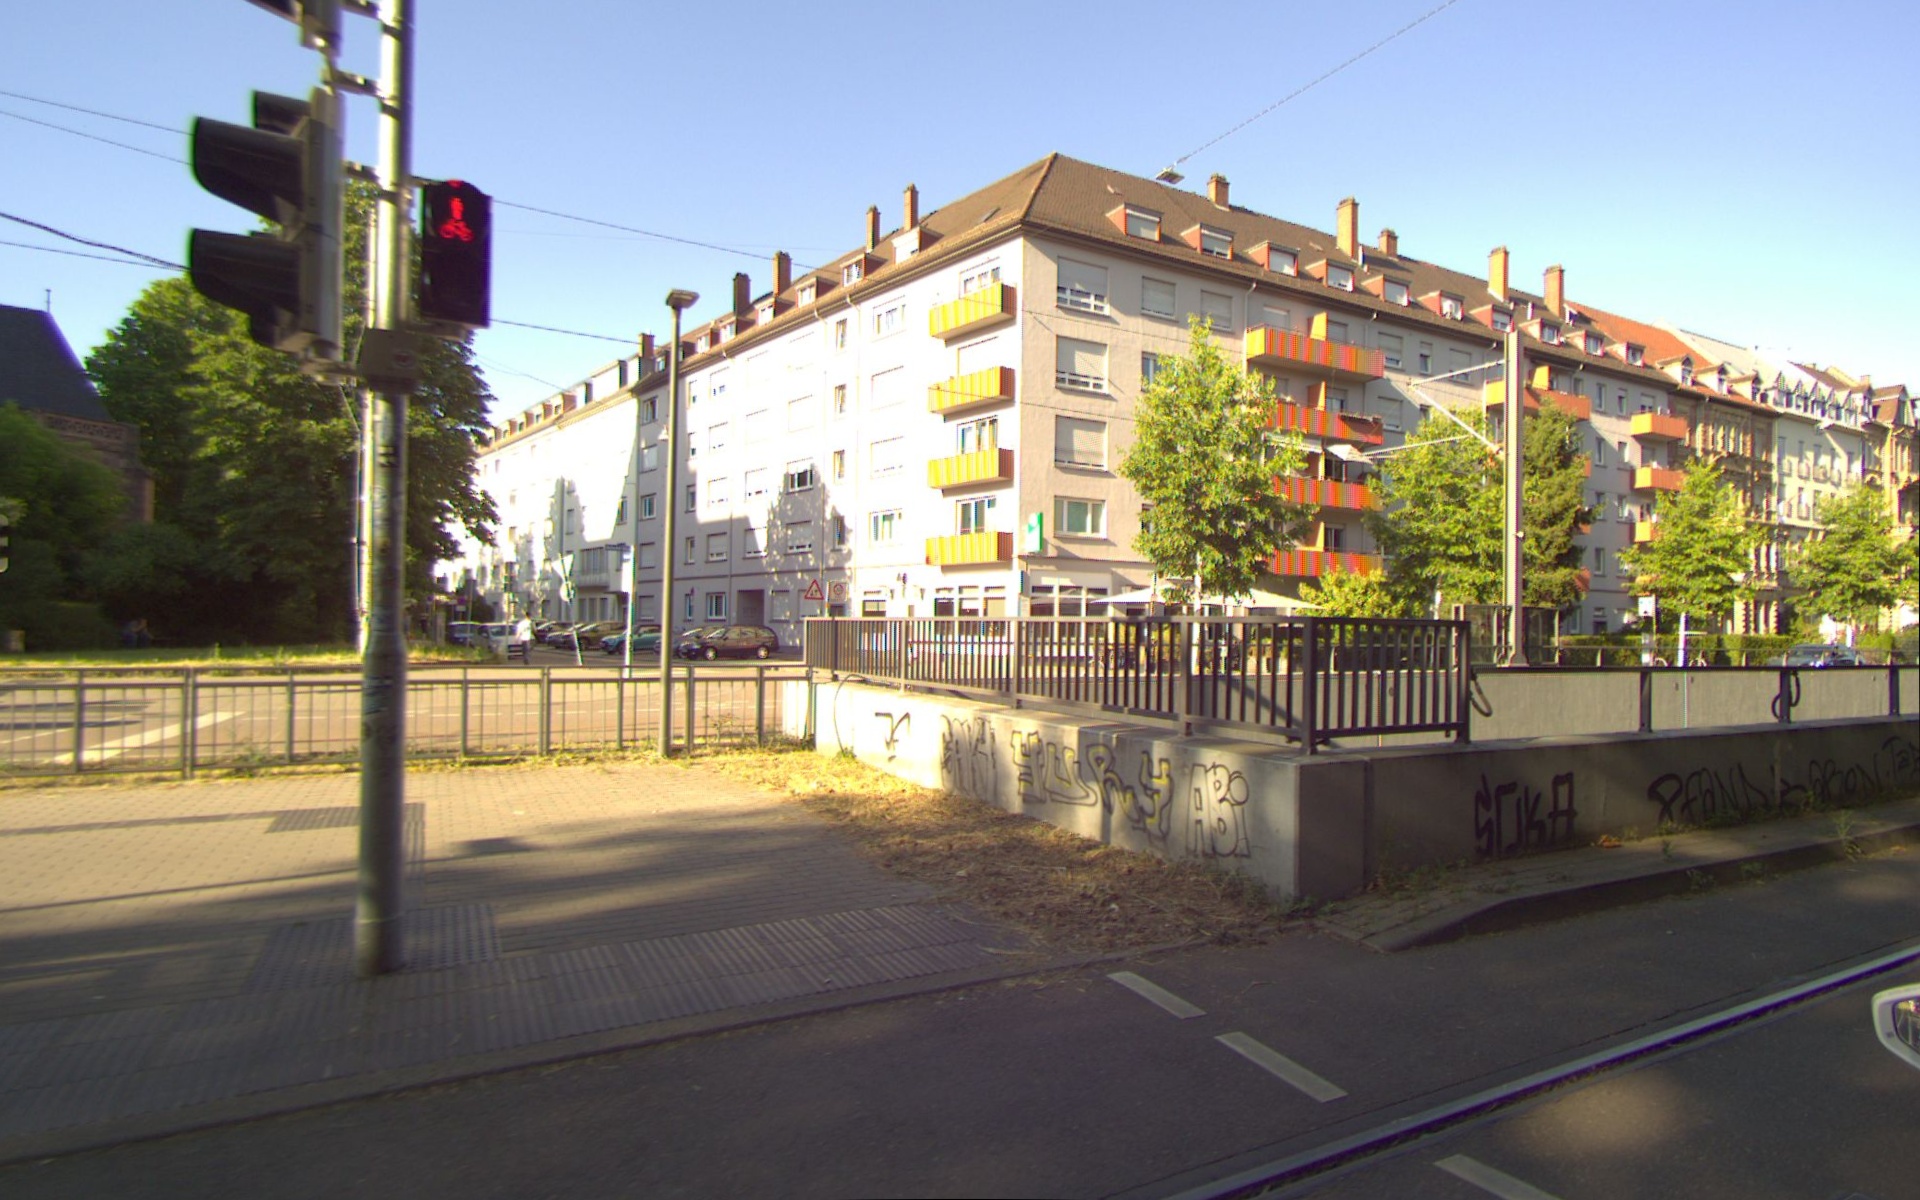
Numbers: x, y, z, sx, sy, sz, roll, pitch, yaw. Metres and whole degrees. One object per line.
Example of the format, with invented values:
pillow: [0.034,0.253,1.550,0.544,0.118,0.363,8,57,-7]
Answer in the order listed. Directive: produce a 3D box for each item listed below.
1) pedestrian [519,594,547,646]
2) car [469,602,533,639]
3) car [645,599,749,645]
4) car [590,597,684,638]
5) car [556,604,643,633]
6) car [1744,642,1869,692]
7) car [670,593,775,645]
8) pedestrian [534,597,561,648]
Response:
pedestrian: [-13.215,0.619,31.084,0.719,1.577,0.654,2,1,-29]
car: [-19.275,0.832,42.082,1.684,1.439,3.636,2,-1,-37]
car: [-11.636,0.976,44.558,3.969,1.884,1.976,2,1,-41]
car: [-16.077,0.875,50.072,3.969,1.884,1.976,2,1,-41]
car: [-19.488,0.997,54.315,3.969,1.439,1.976,2,1,-41]
car: [29.512,2.298,35.003,4.356,1.524,1.961,2,0,-30]
car: [-10.053,0.818,42.660,3.951,2.040,1.802,2,1,-41]
pedestrian: [-13.641,0.755,33.211,0.712,1.677,0.508,2,-1,-30]
